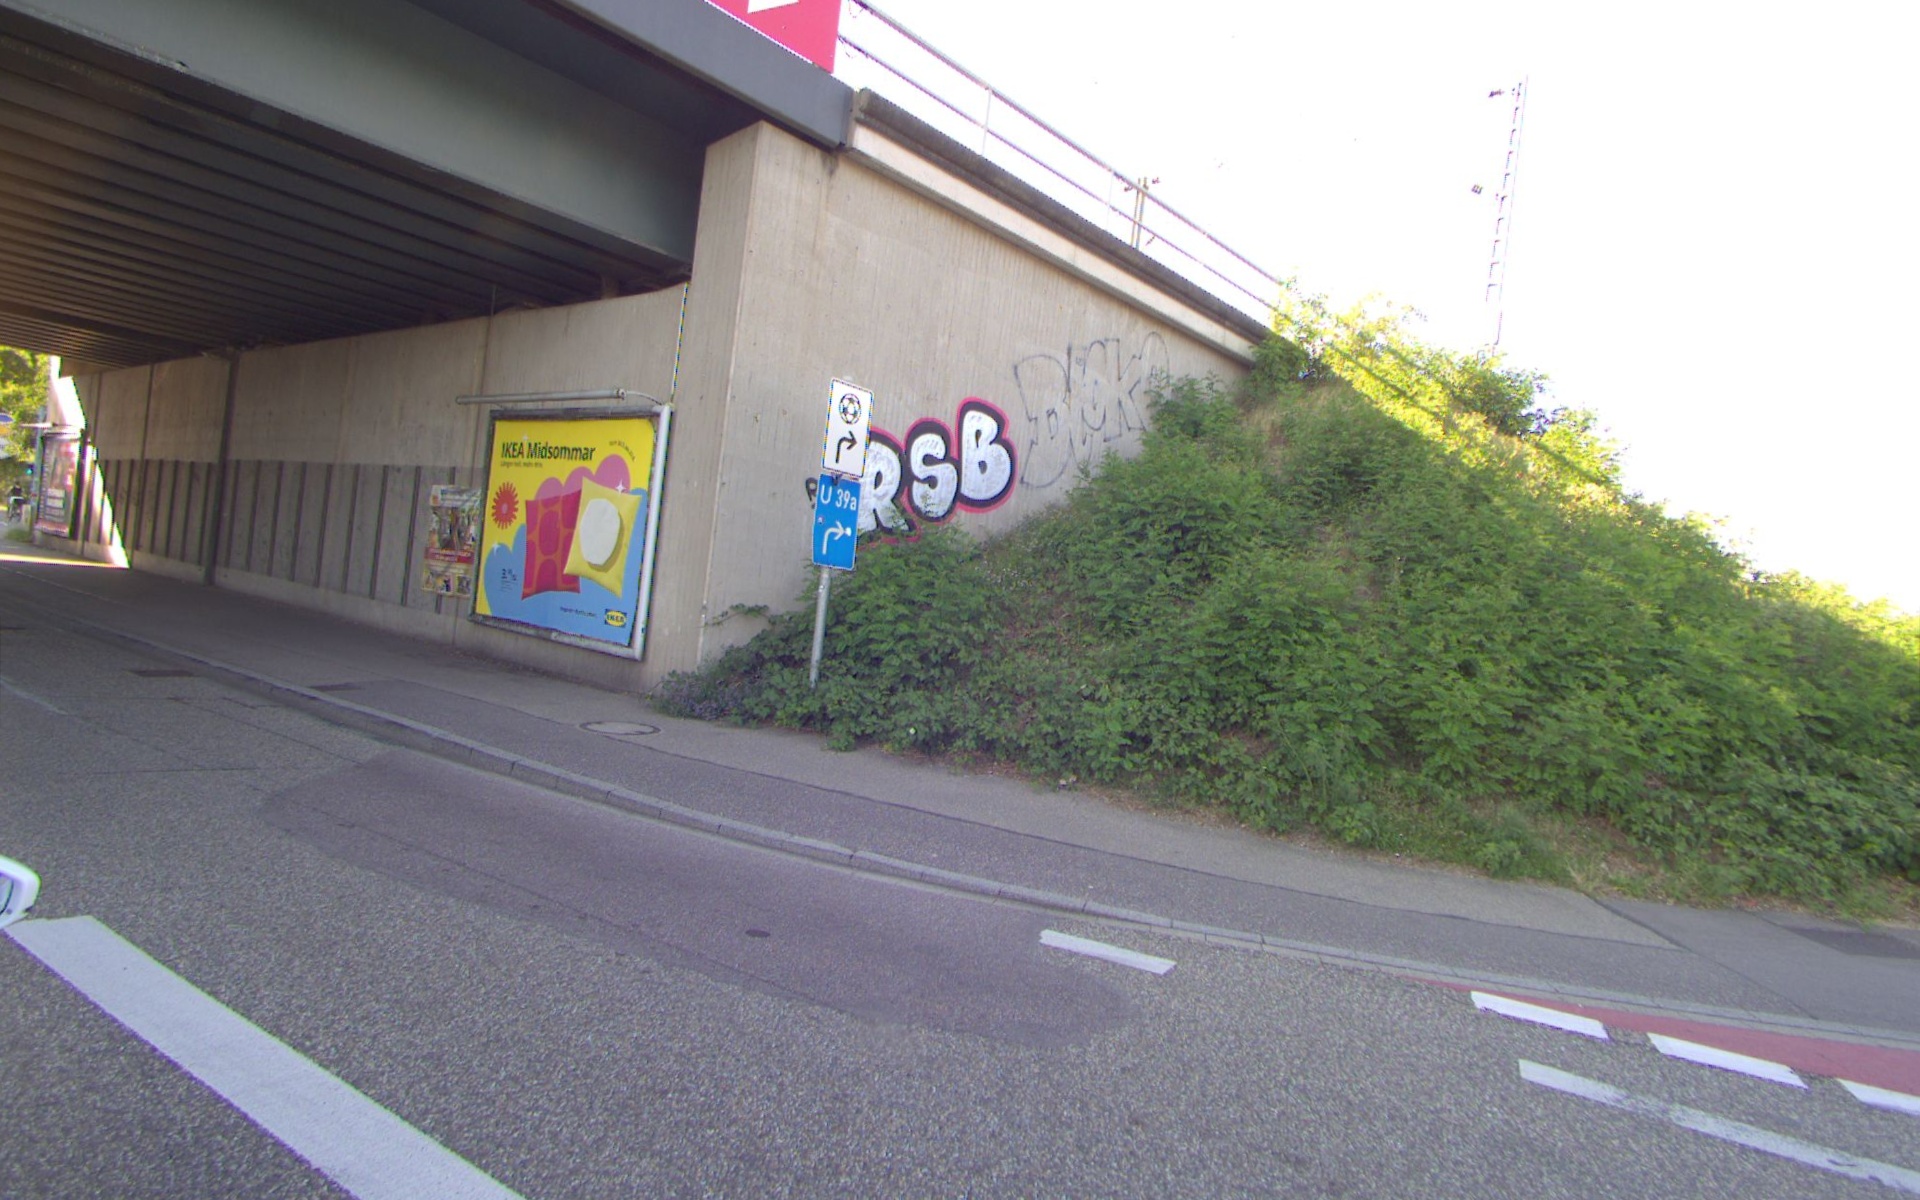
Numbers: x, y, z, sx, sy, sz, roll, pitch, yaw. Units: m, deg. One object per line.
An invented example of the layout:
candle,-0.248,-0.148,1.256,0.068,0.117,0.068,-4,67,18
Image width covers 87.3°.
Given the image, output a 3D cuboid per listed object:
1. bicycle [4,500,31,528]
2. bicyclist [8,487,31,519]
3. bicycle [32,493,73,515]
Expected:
bicycle,-42.565,-3.879,45.429,1.598,1.125,0.564,6,-2,39
bicyclist,-42.446,-4.374,45.405,0.823,1.331,0.543,6,-1,38
bicycle,-53.690,-5.678,59.542,1.652,1.004,0.572,7,3,-35
